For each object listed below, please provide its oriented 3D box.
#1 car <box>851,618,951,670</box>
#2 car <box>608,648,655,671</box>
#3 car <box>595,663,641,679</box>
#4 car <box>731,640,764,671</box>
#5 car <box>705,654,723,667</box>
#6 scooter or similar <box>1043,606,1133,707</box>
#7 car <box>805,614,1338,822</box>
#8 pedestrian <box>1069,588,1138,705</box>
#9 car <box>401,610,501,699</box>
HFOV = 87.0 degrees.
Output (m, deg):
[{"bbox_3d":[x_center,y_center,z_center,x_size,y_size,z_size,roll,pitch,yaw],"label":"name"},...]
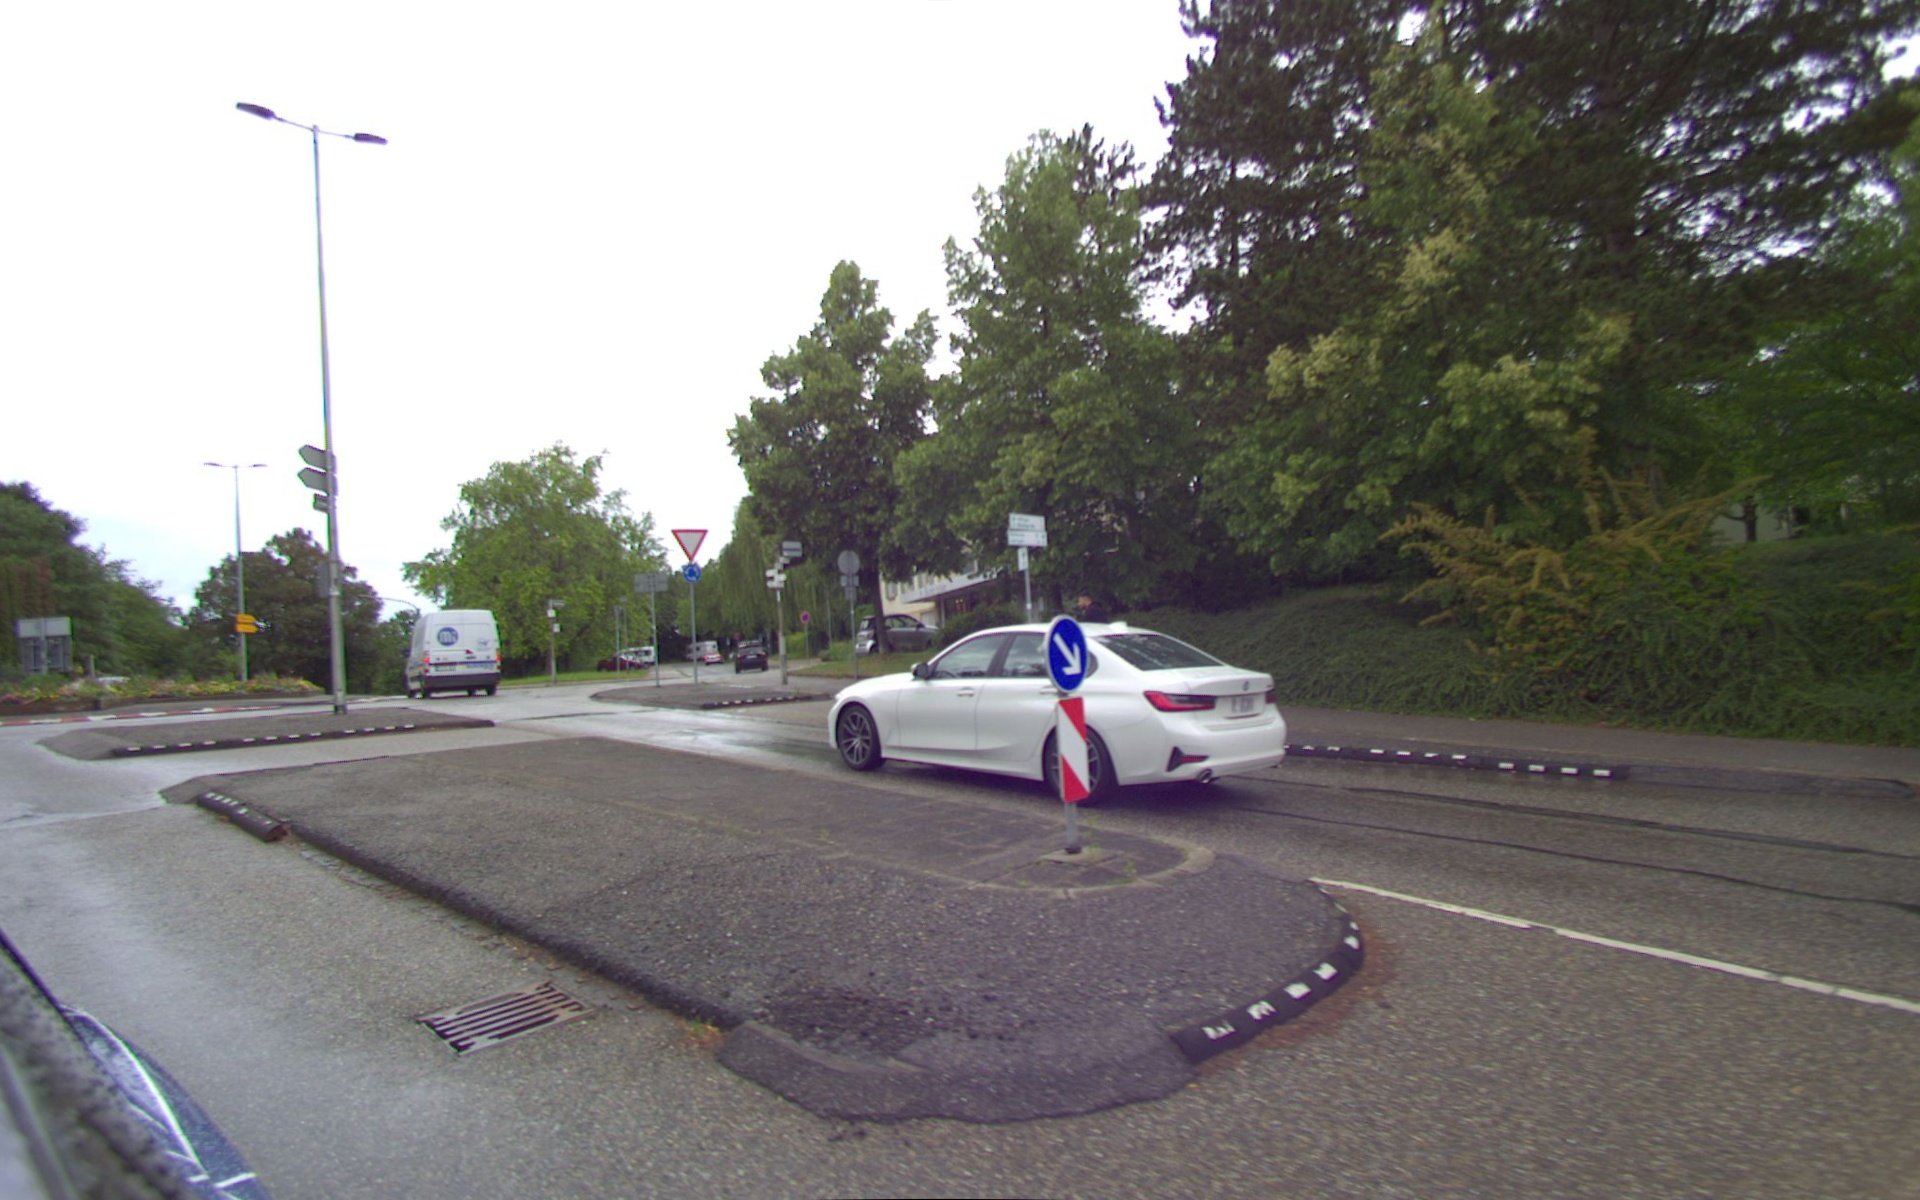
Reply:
[{"bbox_3d":[-1.893,1.385,32.209,2.775,1.553,1.703,0,-2,-20],"label":"car"},{"bbox_3d":[-37.219,6.756,114.702,4.836,2.319,1.795,-1,-6,-12],"label":"car"},{"bbox_3d":[-31.373,6.533,92.923,3.794,1.321,1.563,-1,-6,-12],"label":"car"},{"bbox_3d":[-12.055,3.118,57.282,1.669,1.626,4.349,0,-2,-14],"label":"car"},{"bbox_3d":[-26.027,6.444,107.201,1.535,1.321,3.863,-1,-3,-8],"label":"car"},{"bbox_3d":[1.997,0.883,15.886,1.317,1.527,0.504,-3,-3,40],"label":"scooter or similar"},{"bbox_3d":[0.722,0.885,9.277,1.806,1.412,4.825,1,-2,-43],"label":"car"},{"bbox_3d":[2.303,0.747,16.283,0.825,1.821,0.695,-3,-3,40],"label":"pedestrian"},{"bbox_3d":[-15.496,1.714,30.631,2.138,2.434,5.410,0,-5,-33],"label":"car"}]
